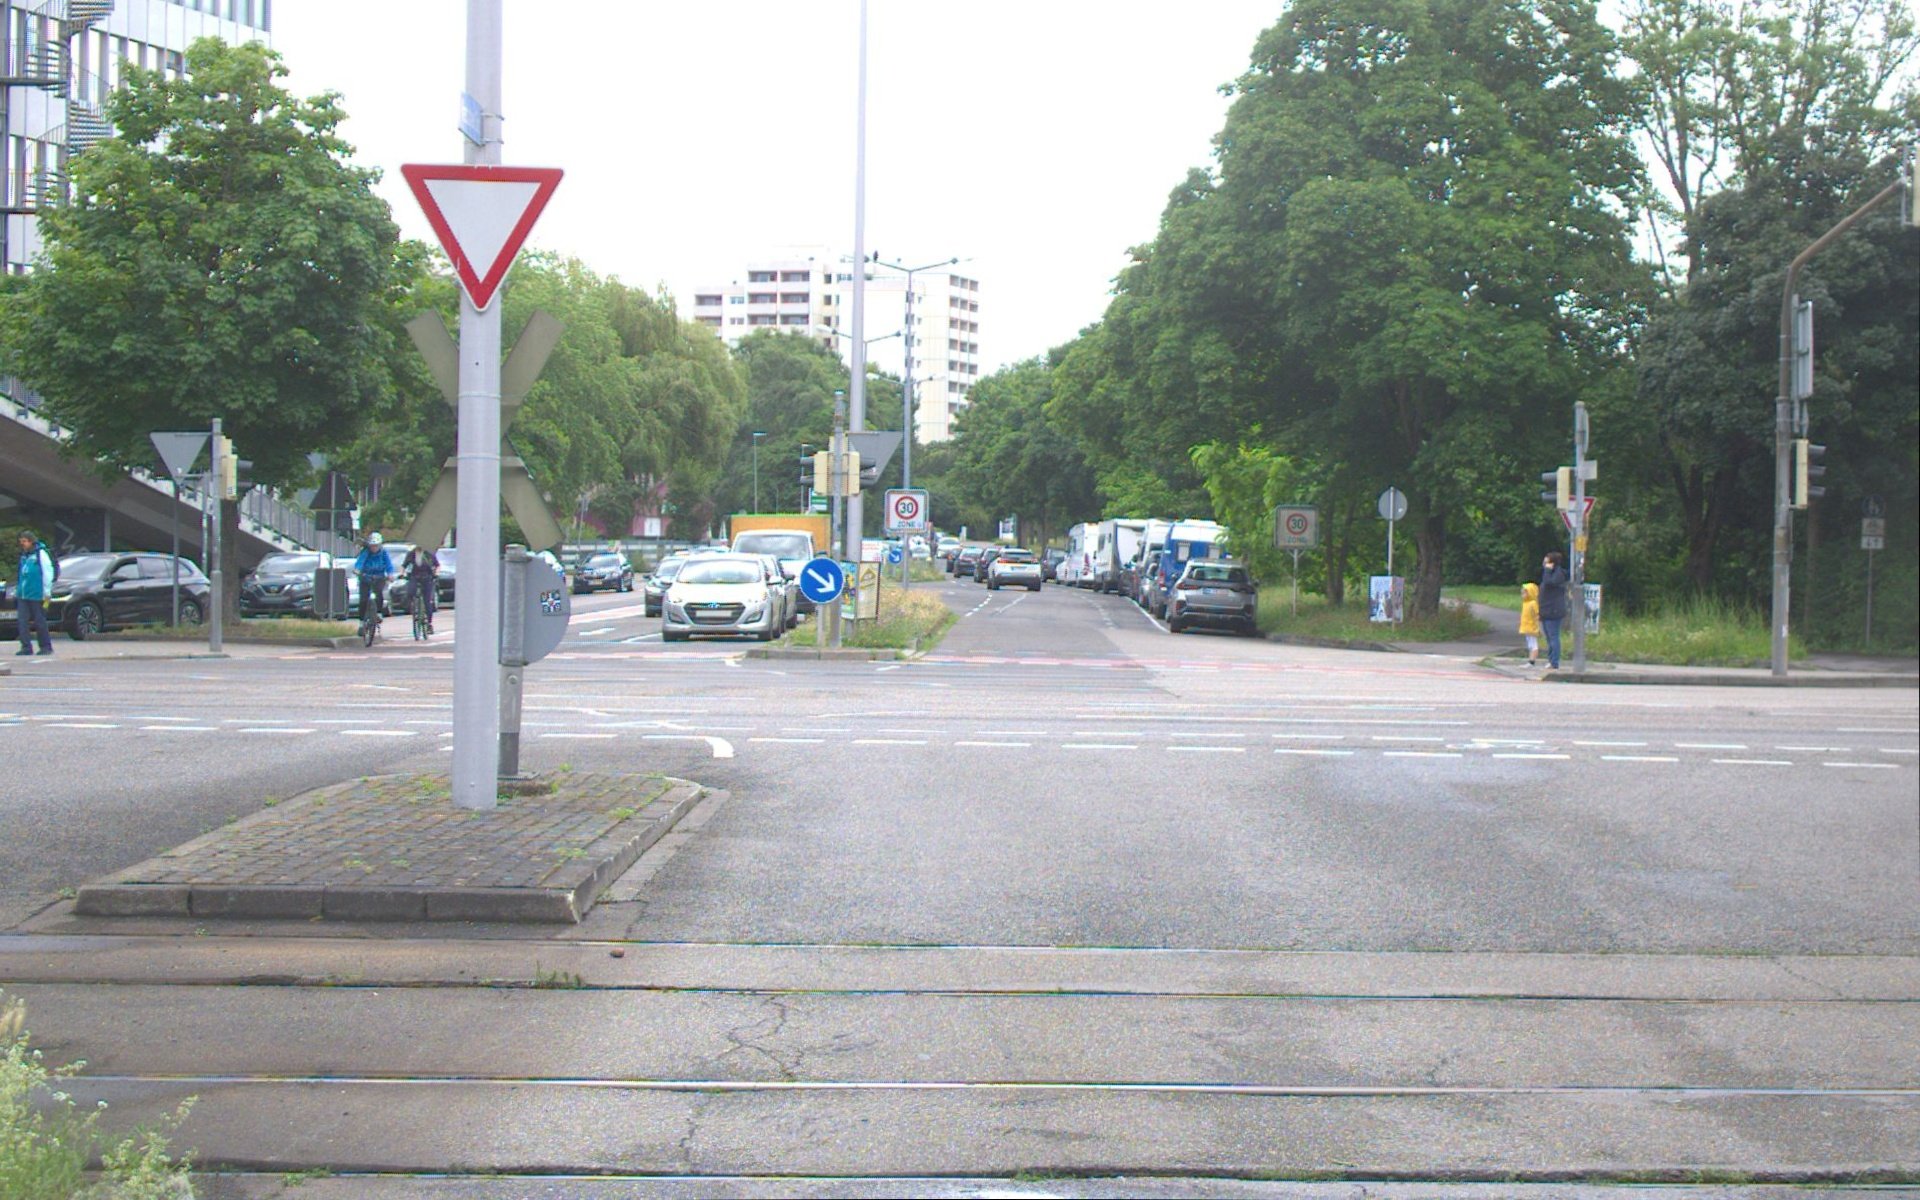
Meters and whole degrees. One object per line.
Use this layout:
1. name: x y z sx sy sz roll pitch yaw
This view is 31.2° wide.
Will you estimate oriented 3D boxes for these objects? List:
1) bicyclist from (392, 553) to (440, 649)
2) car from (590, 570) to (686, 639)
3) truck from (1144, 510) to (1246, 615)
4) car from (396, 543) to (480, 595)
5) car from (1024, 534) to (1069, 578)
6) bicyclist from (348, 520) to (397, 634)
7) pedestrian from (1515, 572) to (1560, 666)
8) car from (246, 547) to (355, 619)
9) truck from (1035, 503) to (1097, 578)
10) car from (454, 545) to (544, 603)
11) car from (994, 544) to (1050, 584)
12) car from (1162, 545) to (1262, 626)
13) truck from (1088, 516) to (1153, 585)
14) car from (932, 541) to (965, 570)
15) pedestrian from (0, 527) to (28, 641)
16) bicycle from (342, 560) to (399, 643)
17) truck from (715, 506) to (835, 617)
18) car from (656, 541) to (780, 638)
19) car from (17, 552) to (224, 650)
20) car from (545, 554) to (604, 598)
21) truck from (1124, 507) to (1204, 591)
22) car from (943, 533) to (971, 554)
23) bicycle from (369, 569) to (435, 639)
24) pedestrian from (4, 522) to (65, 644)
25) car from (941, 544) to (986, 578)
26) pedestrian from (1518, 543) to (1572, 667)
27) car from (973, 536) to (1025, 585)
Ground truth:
1. bicyclist: -9.082 0.016 57.439 0.679 1.589 0.695 1 0 -1
2. car: -7.343 0.089 78.693 1.770 1.472 4.390 1 1 0
3. truck: 6.147 -0.980 90.698 2.174 2.647 6.246 0 0 -1
4. car: -14.444 -0.880 95.301 1.763 1.390 4.000 1 1 -1
5. car: 3.997 -2.052 158.883 1.651 1.912 3.919 1 2 -4
6. bicyclist: -9.143 -0.362 53.510 0.644 1.762 0.647 1 1 -1
7. pedestrian: 8.358 0.272 49.761 0.527 1.337 0.525 1 1 -1
8. car: -14.859 -0.406 77.620 1.671 1.546 3.892 1 1 0
9. truck: 4.379 -2.448 142.903 1.993 2.998 5.773 1 0 -4
10. car: -11.392 -0.649 85.107 1.512 1.385 3.532 1 0 4
11. car: 2.389 -1.412 133.274 2.020 1.500 4.000 1 1 -1
12. car: 5.393 -0.333 73.904 1.784 1.656 4.000 1 1 -1
13. truck: 6.156 -1.871 132.115 1.993 2.564 5.379 1 0 -2
14. car: -0.633 -2.427 185.479 1.554 1.500 4.001 1 1 -3
15. pedestrian: -12.926 -0.216 45.815 0.917 1.505 0.404 1 1 -11
16. bicycle: -9.226 0.010 53.832 0.543 1.263 2.111 1 1 -1
17. truck: -3.826 -0.833 71.978 2.155 2.191 5.840 1 1 0
18. car: -3.983 -0.209 57.188 1.789 1.514 4.326 1 1 -1
19. car: -13.877 -0.014 57.010 1.672 1.546 3.998 1 1 14
20. car: -14.146 -0.907 126.354 1.671 1.546 4.000 1 1 0
21. truck: 7.095 -1.778 120.041 1.993 2.828 5.732 1 1 -4
22. car: -0.242 -4.121 251.724 2.020 1.500 4.000 1 1 -1
23. bicycle: -9.195 0.052 56.750 0.726 1.097 2.264 1 1 -1
24. pedestrian: -12.295 -0.229 45.660 0.687 1.599 0.488 1 1 -5
25. car: 0.137 -1.823 159.729 2.020 1.500 4.000 1 1 -1
26. pedestrian: 8.358 0.068 49.146 0.657 1.744 0.459 1 1 -1
27. car: 1.616 -1.668 143.432 2.020 1.951 4.000 1 1 -1
